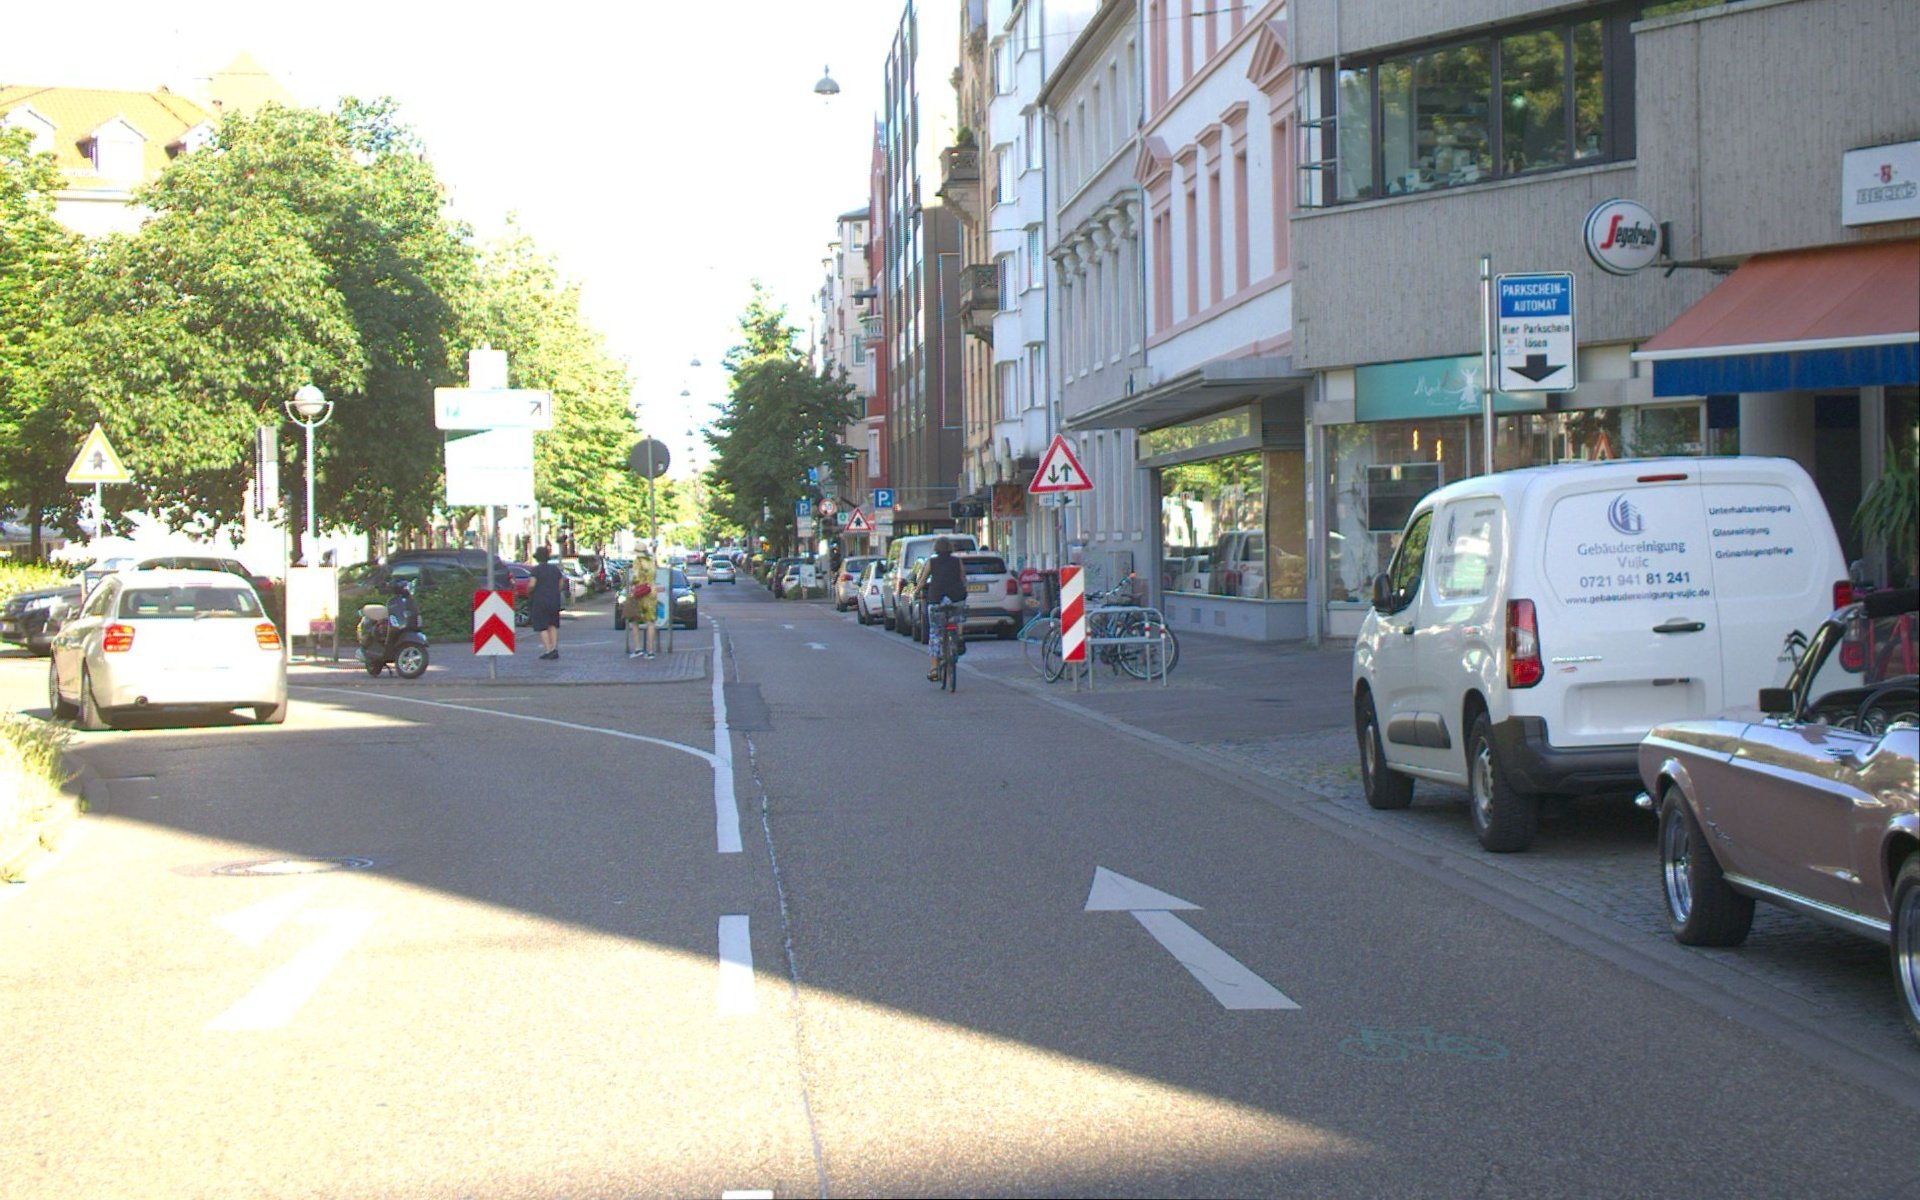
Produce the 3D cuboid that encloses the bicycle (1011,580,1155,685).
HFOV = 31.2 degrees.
[{"bbox_3d":[1.497,0.392,41.660,1.622,1.239,0.658,1,0,16],"label":"bicycle"}]

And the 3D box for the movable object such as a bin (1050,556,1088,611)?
[{"bbox_3d":[2.299,-0.345,72.470,0.768,1.157,0.578,1,0,-1],"label":"movable object such as a bin"}]

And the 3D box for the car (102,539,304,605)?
[{"bbox_3d":[-21.817,-0.788,99.115,5.263,1.794,2.163,1,0,-30],"label":"car"}]

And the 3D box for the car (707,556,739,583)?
[{"bbox_3d":[-14.288,-1.854,207.157,1.870,1.550,4.000,1,0,-3],"label":"car"}]

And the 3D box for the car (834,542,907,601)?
[{"bbox_3d":[-2.676,-0.815,101.968,1.898,1.669,4.825,1,0,-4],"label":"car"}]

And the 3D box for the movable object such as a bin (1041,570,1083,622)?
[{"bbox_3d":[2.196,-0.080,73.744,0.794,1.073,0.660,-4,0,-2],"label":"movable object such as a bin"}]

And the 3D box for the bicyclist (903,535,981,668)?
[{"bbox_3d":[-0.201,0.018,38.059,0.786,1.448,1.096,1,0,-4],"label":"bicyclist"}]

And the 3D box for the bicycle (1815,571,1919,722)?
[{"bbox_3d":[6.584,0.323,24.315,0.563,1.031,1.644,1,0,-3],"label":"bicycle"}]

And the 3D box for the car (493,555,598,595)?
[{"bbox_3d":[-16.275,-0.969,135.136,3.986,1.503,2.000,1,0,-3],"label":"car"}]

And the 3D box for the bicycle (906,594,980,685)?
[{"bbox_3d":[-0.203,0.428,37.972,0.652,0.955,2.698,1,0,-4],"label":"bicycle"}]

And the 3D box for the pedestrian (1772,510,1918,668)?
[{"bbox_3d":[7.477,-0.093,29.081,0.841,1.288,0.831,-2,0,-16],"label":"pedestrian"}]

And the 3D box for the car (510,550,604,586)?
[{"bbox_3d":[-17.660,-1.400,150.891,3.986,1.503,1.895,1,0,-3],"label":"car"}]

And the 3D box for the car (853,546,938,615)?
[{"bbox_3d":[-1.529,-0.445,80.751,1.718,1.510,3.583,-3,0,-4],"label":"car"}]

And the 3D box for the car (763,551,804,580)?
[{"bbox_3d":[-9.025,-1.764,175.280,1.993,1.448,4.001,0,1,-5],"label":"car"}]

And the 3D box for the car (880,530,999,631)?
[{"bbox_3d":[-0.459,-0.436,71.279,1.993,1.998,5.118,-1,1,-6],"label":"car"}]

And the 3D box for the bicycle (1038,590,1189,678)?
[{"bbox_3d":[1.792,0.398,40.172,1.704,1.001,0.427,1,0,12],"label":"bicycle"}]

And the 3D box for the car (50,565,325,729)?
[{"bbox_3d":[-7.274,0.423,32.086,1.993,1.418,4.198,1,0,-20],"label":"car"}]

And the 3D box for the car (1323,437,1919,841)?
[{"bbox_3d":[3.258,0.191,17.692,1.993,1.806,4.310,1,0,-4],"label":"car"}]

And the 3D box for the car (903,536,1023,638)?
[{"bbox_3d":[0.014,-0.214,61.228,1.745,1.733,4.961,1,0,-4],"label":"car"}]

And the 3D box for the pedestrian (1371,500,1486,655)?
[{"bbox_3d":[5.348,-0.253,39.331,1.132,1.737,1.022,1,0,-2],"label":"pedestrian"}]

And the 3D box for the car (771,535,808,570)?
[{"bbox_3d":[-9.896,-2.731,199.146,1.993,2.007,4.001,0,1,-5],"label":"car"}]

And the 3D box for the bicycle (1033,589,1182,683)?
[{"bbox_3d":[1.702,0.411,39.798,1.680,1.058,0.343,1,0,12],"label":"bicycle"}]

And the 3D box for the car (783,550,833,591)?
[{"bbox_3d":[-6.319,-1.213,143.157,1.993,1.612,4.010,1,0,-2],"label":"car"}]

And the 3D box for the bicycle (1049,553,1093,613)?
[{"bbox_3d":[2.281,-0.342,70.412,0.483,1.182,1.718,-3,-1,14],"label":"bicycle"}]

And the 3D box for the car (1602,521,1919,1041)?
[{"bbox_3d":[3.507,0.520,11.233,1.774,1.449,4.731,1,0,-2],"label":"car"}]

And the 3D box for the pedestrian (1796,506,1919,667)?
[{"bbox_3d":[7.984,-0.123,30.406,0.841,1.397,0.753,1,1,-34],"label":"pedestrian"}]

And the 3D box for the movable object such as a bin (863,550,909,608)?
[{"bbox_3d":[-1.963,-0.553,91.427,1.073,1.452,1.492,-3,2,1],"label":"movable object such as a bin"}]

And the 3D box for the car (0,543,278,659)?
[{"bbox_3d":[-12.553,0.004,52.273,3.859,1.676,1.811,-1,0,-40],"label":"car"}]

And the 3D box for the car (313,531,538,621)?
[{"bbox_3d":[-10.384,-0.462,66.779,3.986,1.662,2.001,1,1,-20],"label":"car"}]

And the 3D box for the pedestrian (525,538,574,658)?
[{"bbox_3d":[-5.756,-0.030,48.244,0.636,1.666,0.693,0,0,-3],"label":"pedestrian"}]

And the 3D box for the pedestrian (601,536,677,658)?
[{"bbox_3d":[-4.494,-0.043,48.161,0.804,1.693,0.668,0,-1,38],"label":"pedestrian"}]

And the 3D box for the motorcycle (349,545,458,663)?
[{"bbox_3d":[-6.632,0.051,40.900,0.745,1.369,1.761,1,0,-27],"label":"motorcycle"}]

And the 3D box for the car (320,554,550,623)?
[{"bbox_3d":[-11.899,-0.249,77.970,4.834,1.483,1.765,1,0,-27],"label":"car"}]
